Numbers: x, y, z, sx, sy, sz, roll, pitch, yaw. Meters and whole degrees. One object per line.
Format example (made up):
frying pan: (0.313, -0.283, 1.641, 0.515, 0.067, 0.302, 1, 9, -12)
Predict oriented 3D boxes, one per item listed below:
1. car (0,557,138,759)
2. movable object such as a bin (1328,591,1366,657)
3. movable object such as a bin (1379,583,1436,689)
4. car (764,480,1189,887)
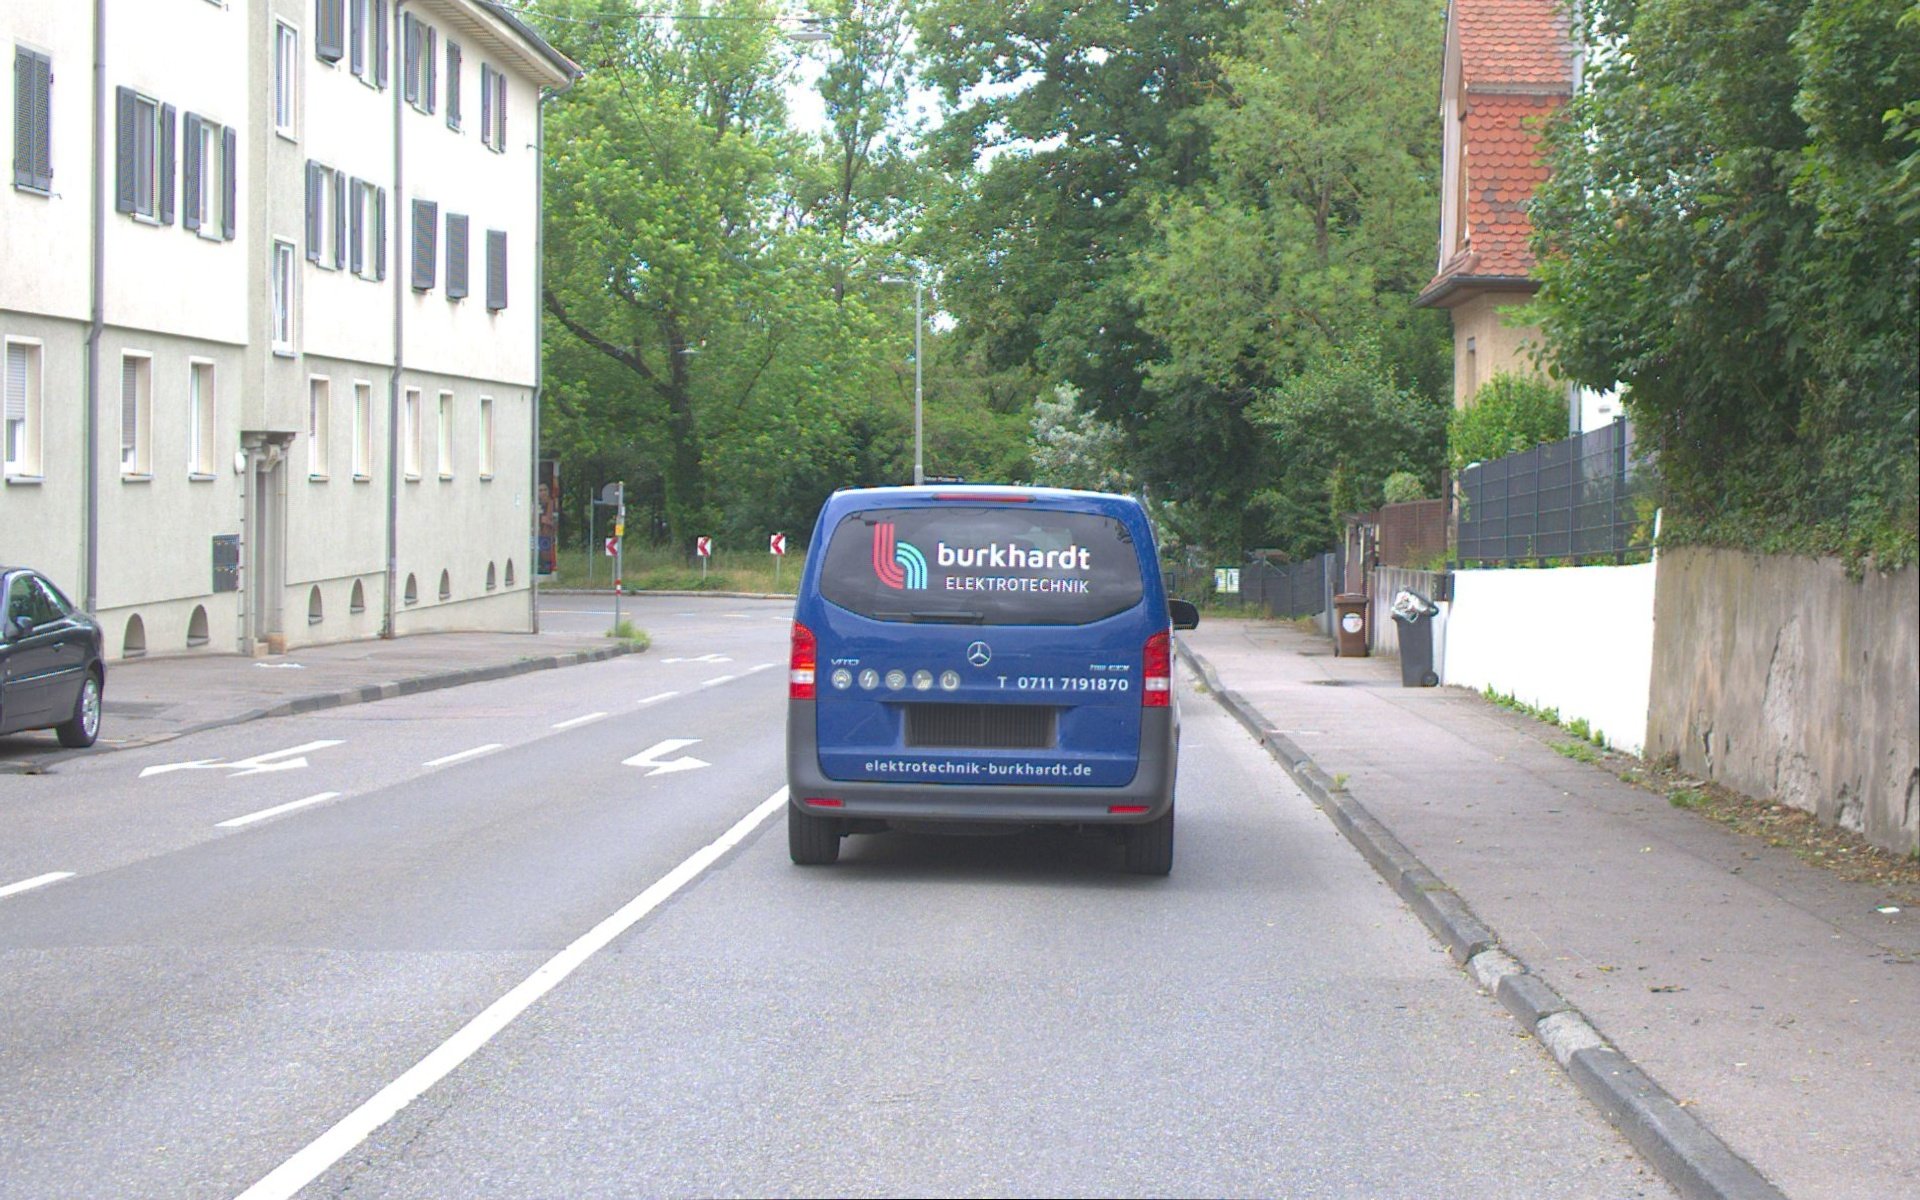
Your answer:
car: (-7.548, 0.392, 25.291, 1.710, 1.398, 4.846, 0, 1, 2)
movable object such as a bin: (5.602, 0.341, 49.777, 0.461, 0.921, 0.566, -3, 1, 1)
movable object such as a bin: (5.135, 0.405, 39.439, 0.528, 1.174, 0.634, -3, 1, 1)
car: (0.071, 0.350, 17.820, 1.913, 1.831, 4.294, 1, 1, 0)
